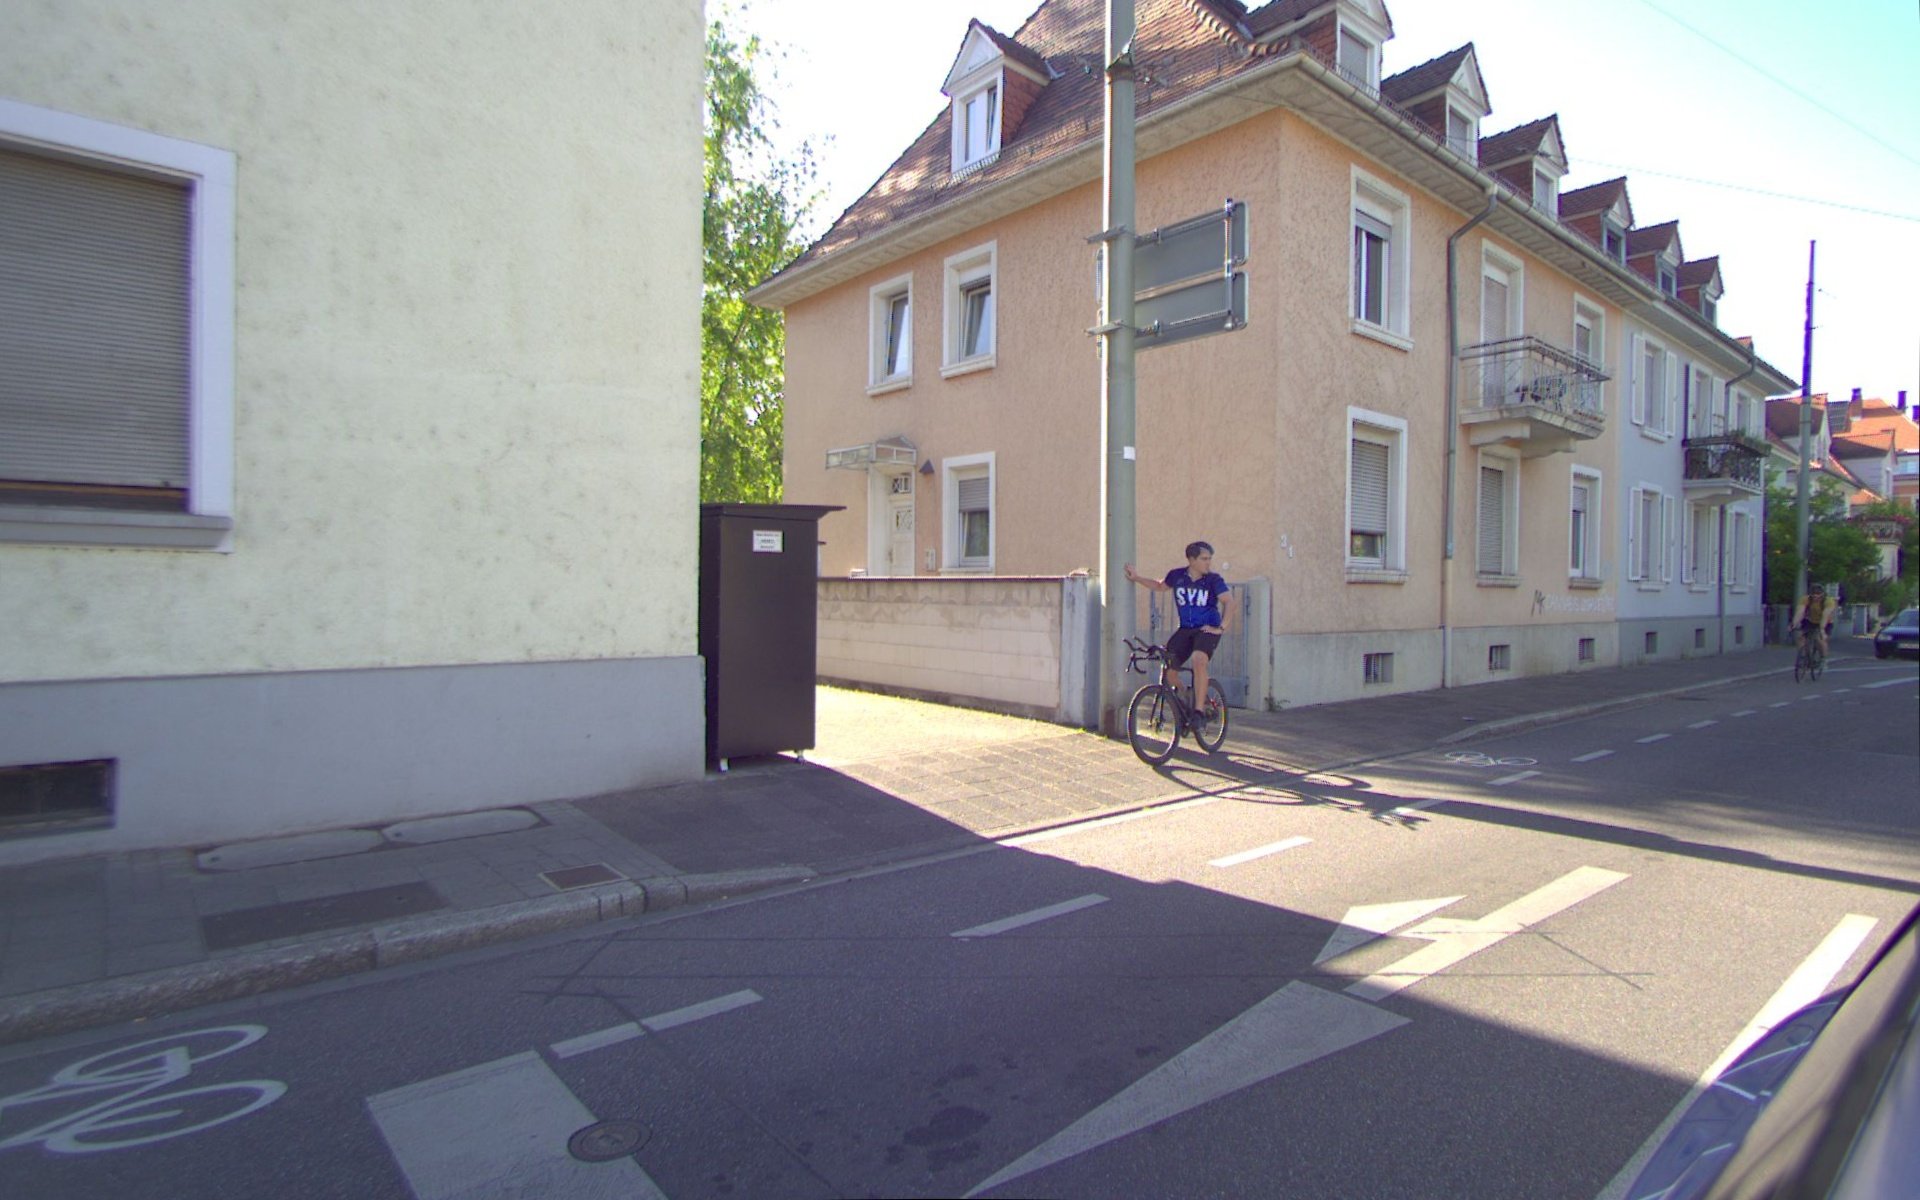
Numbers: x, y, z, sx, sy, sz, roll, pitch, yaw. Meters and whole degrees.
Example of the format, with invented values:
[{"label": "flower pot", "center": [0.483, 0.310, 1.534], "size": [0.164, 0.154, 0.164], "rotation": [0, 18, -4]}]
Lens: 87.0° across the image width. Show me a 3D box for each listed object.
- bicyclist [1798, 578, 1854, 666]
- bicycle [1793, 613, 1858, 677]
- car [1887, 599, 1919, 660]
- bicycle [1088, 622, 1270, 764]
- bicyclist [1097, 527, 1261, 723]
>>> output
[{"label": "bicyclist", "center": [16.502, 0.401, 19.286], "size": [0.841, 1.641, 0.685], "rotation": [0, 0, -41]}, {"label": "bicycle", "center": [16.552, 0.833, 19.334], "size": [1.774, 1.118, 0.685], "rotation": [-1, 0, -41]}, {"label": "car", "center": [26.697, 0.753, 27.365], "size": [3.742, 1.601, 1.696], "rotation": [0, -1, -36]}, {"label": "bicycle", "center": [1.984, 0.777, 9.048], "size": [1.744, 1.081, 0.592], "rotation": [0, 5, -41]}, {"label": "bicyclist", "center": [2.002, 0.190, 9.306], "size": [0.870, 1.627, 1.052], "rotation": [1, 5, -41]}]
